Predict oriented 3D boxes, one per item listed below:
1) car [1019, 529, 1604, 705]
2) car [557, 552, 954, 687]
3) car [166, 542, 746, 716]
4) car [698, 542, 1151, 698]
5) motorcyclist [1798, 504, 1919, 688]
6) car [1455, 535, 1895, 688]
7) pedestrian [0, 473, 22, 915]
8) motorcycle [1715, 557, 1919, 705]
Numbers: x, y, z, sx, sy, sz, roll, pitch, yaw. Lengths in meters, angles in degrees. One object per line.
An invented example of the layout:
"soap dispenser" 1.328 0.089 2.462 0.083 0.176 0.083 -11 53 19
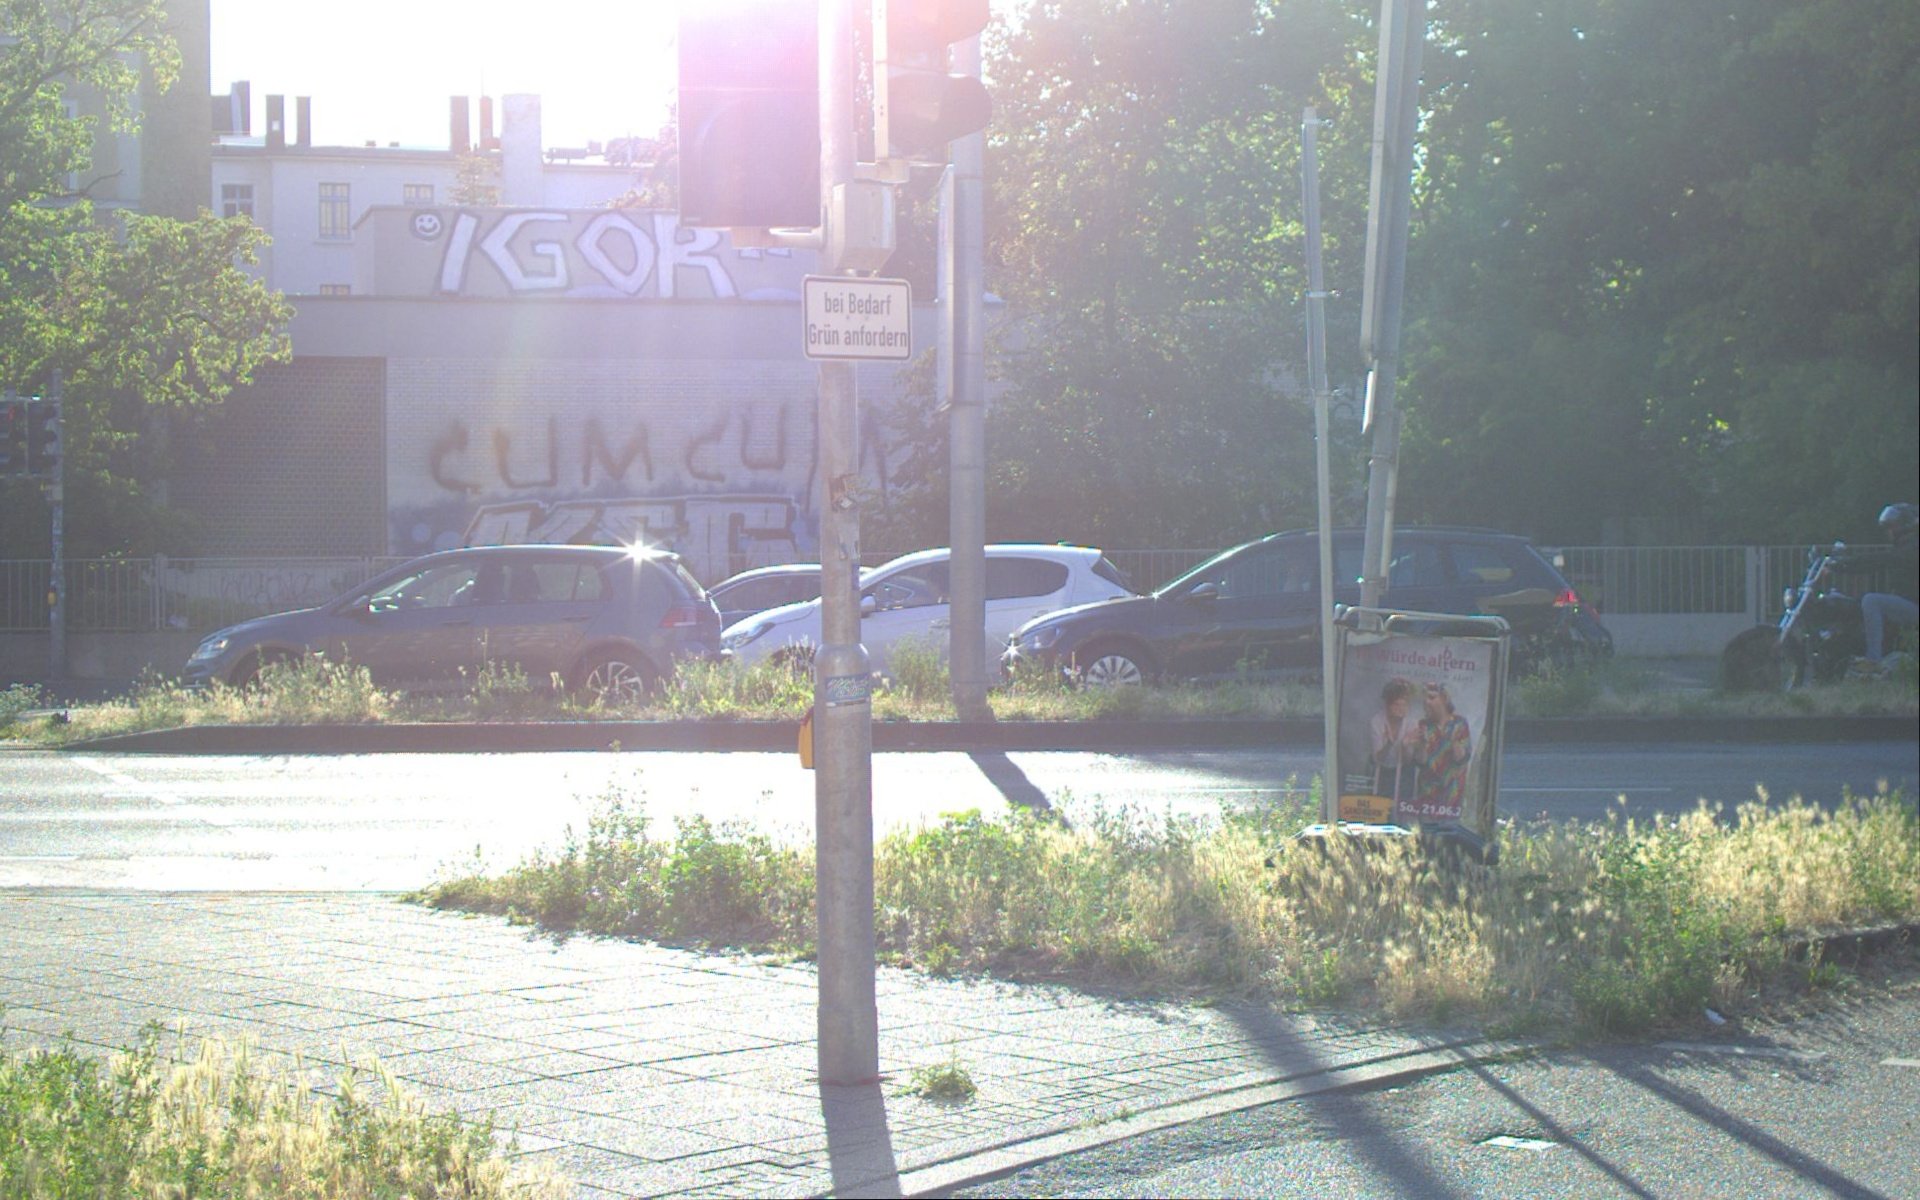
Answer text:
"car" 2.648 0.117 26.635 4.362 1.292 1.724 0 1 1
"car" -2.020 0.181 34.592 3.881 1.292 1.724 0 1 -1
"car" -3.873 0.206 26.885 4.235 1.292 1.724 0 1 2
"car" -0.320 0.158 30.380 3.881 1.315 1.724 0 1 -1
"motorcyclist" 7.092 -0.038 26.497 1.058 1.393 0.854 0 1 1
"car" 7.194 0.090 34.815 3.986 1.459 1.860 0 1 -6
"pedestrian" -4.376 0.378 14.100 0.908 1.783 0.827 -1 1 -22
"motorcycle" 7.147 0.228 26.514 2.462 1.104 0.861 0 1 1
